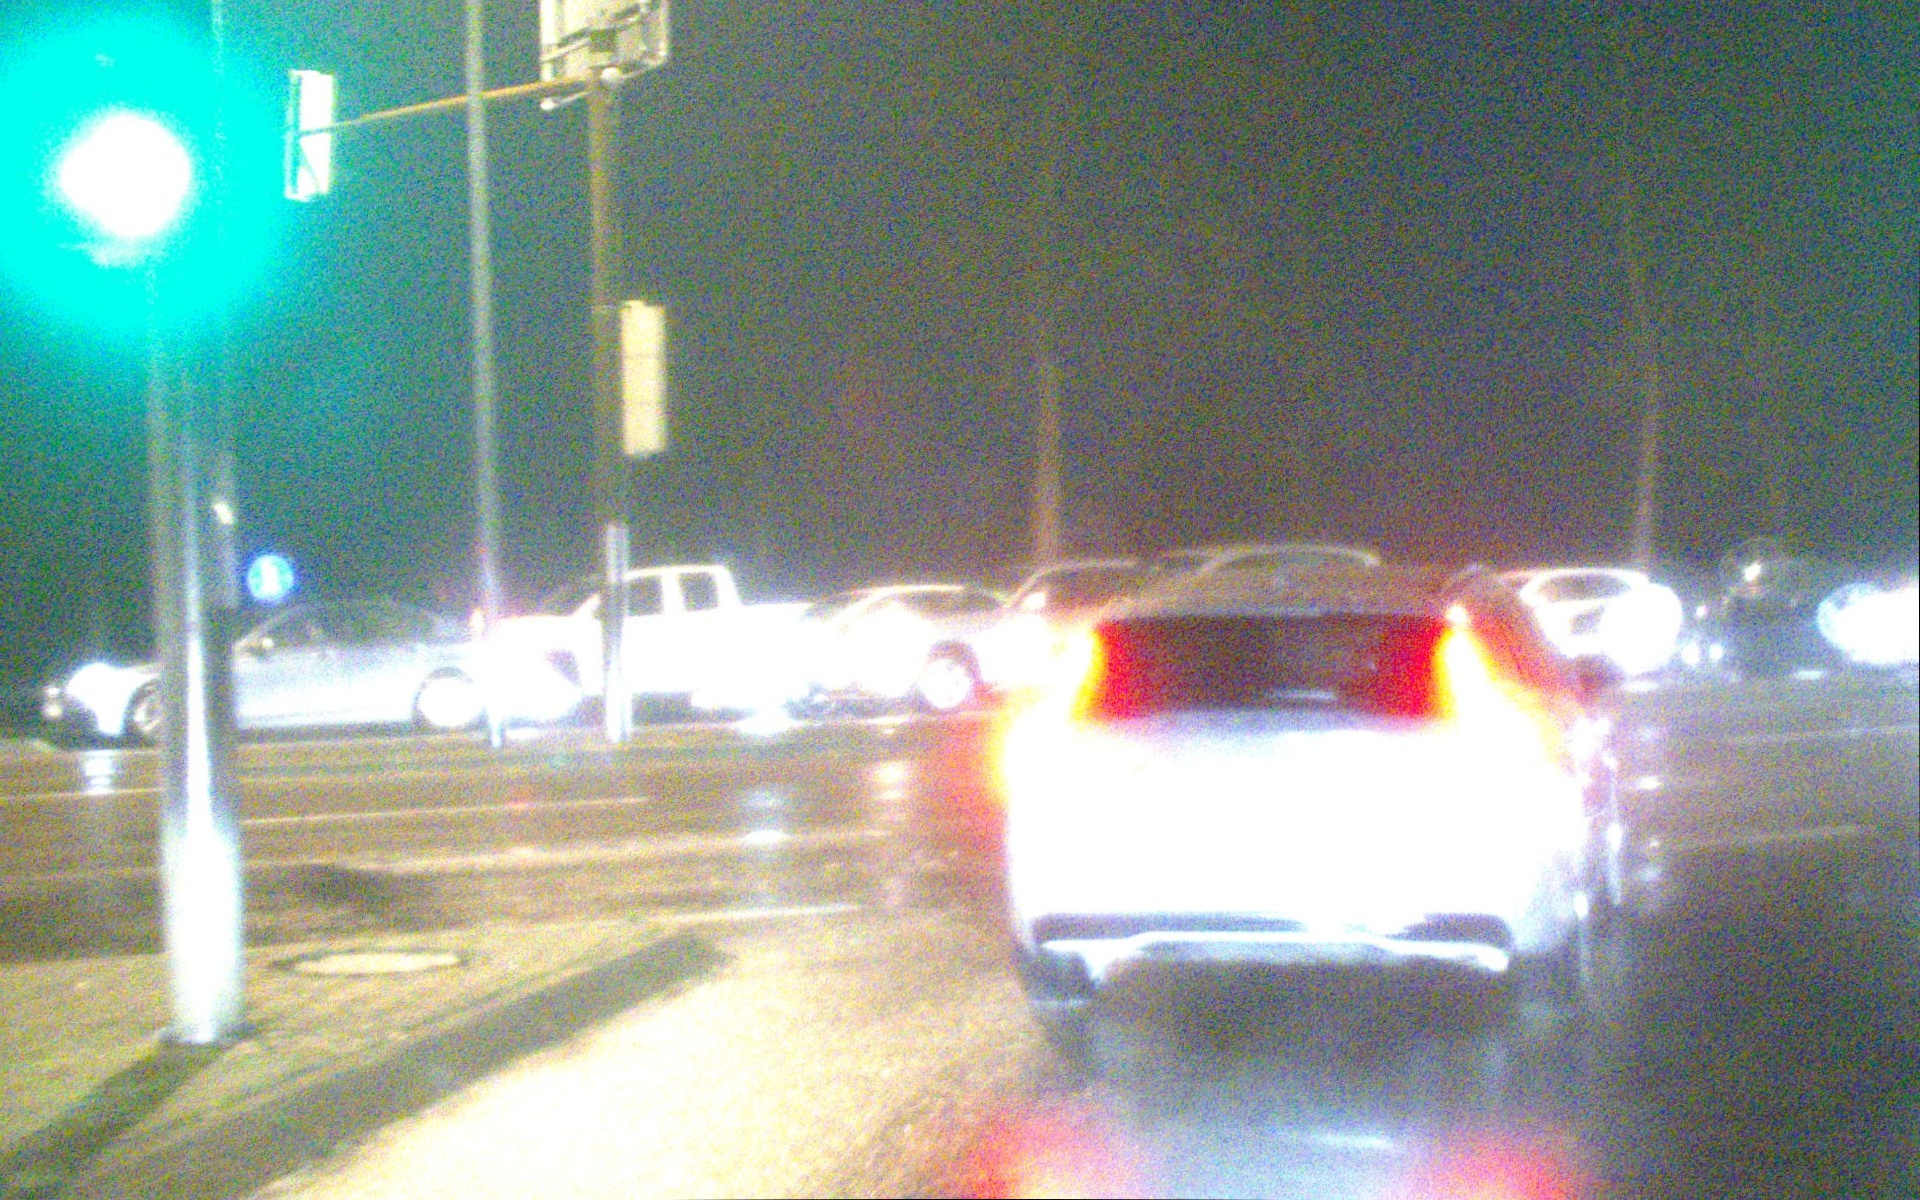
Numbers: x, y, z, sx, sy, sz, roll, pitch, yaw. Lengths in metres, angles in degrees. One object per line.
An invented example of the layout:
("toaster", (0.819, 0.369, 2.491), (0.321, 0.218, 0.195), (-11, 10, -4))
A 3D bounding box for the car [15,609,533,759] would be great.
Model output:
("car", (-6.859, 0.818, 34.534), (4.787, 1.422, 1.765), (0, -1, -30))

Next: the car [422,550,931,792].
("car", (-3.333, 0.821, 40.764), (5.590, 2.701, 2.256), (0, -1, -30))

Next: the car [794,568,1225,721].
("car", (0.512, 0.453, 34.910), (4.044, 1.482, 1.718), (0, -1, -27))

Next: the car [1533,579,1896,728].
("car", (8.778, 0.616, 39.961), (3.963, 1.660, 1.804), (0, -1, -31))

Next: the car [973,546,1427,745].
("car", (2.269, 0.390, 32.329), (3.888, 1.719, 1.765), (-1, 1, -29))

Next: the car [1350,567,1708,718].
("car", (7.111, 0.532, 42.851), (4.236, 1.793, 1.804), (0, -1, -31))

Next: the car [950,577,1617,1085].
("car", (1.332, 0.654, 12.223), (1.797, 1.447, 4.266), (0, 1, 13))

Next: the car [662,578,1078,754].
("car", (-0.969, 0.717, 37.895), (4.270, 1.842, 1.765), (0, -1, -31))

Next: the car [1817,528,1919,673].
("car", (11.569, -0.044, 37.311), (4.397, 1.479, 1.783), (-1, 2, -30))
